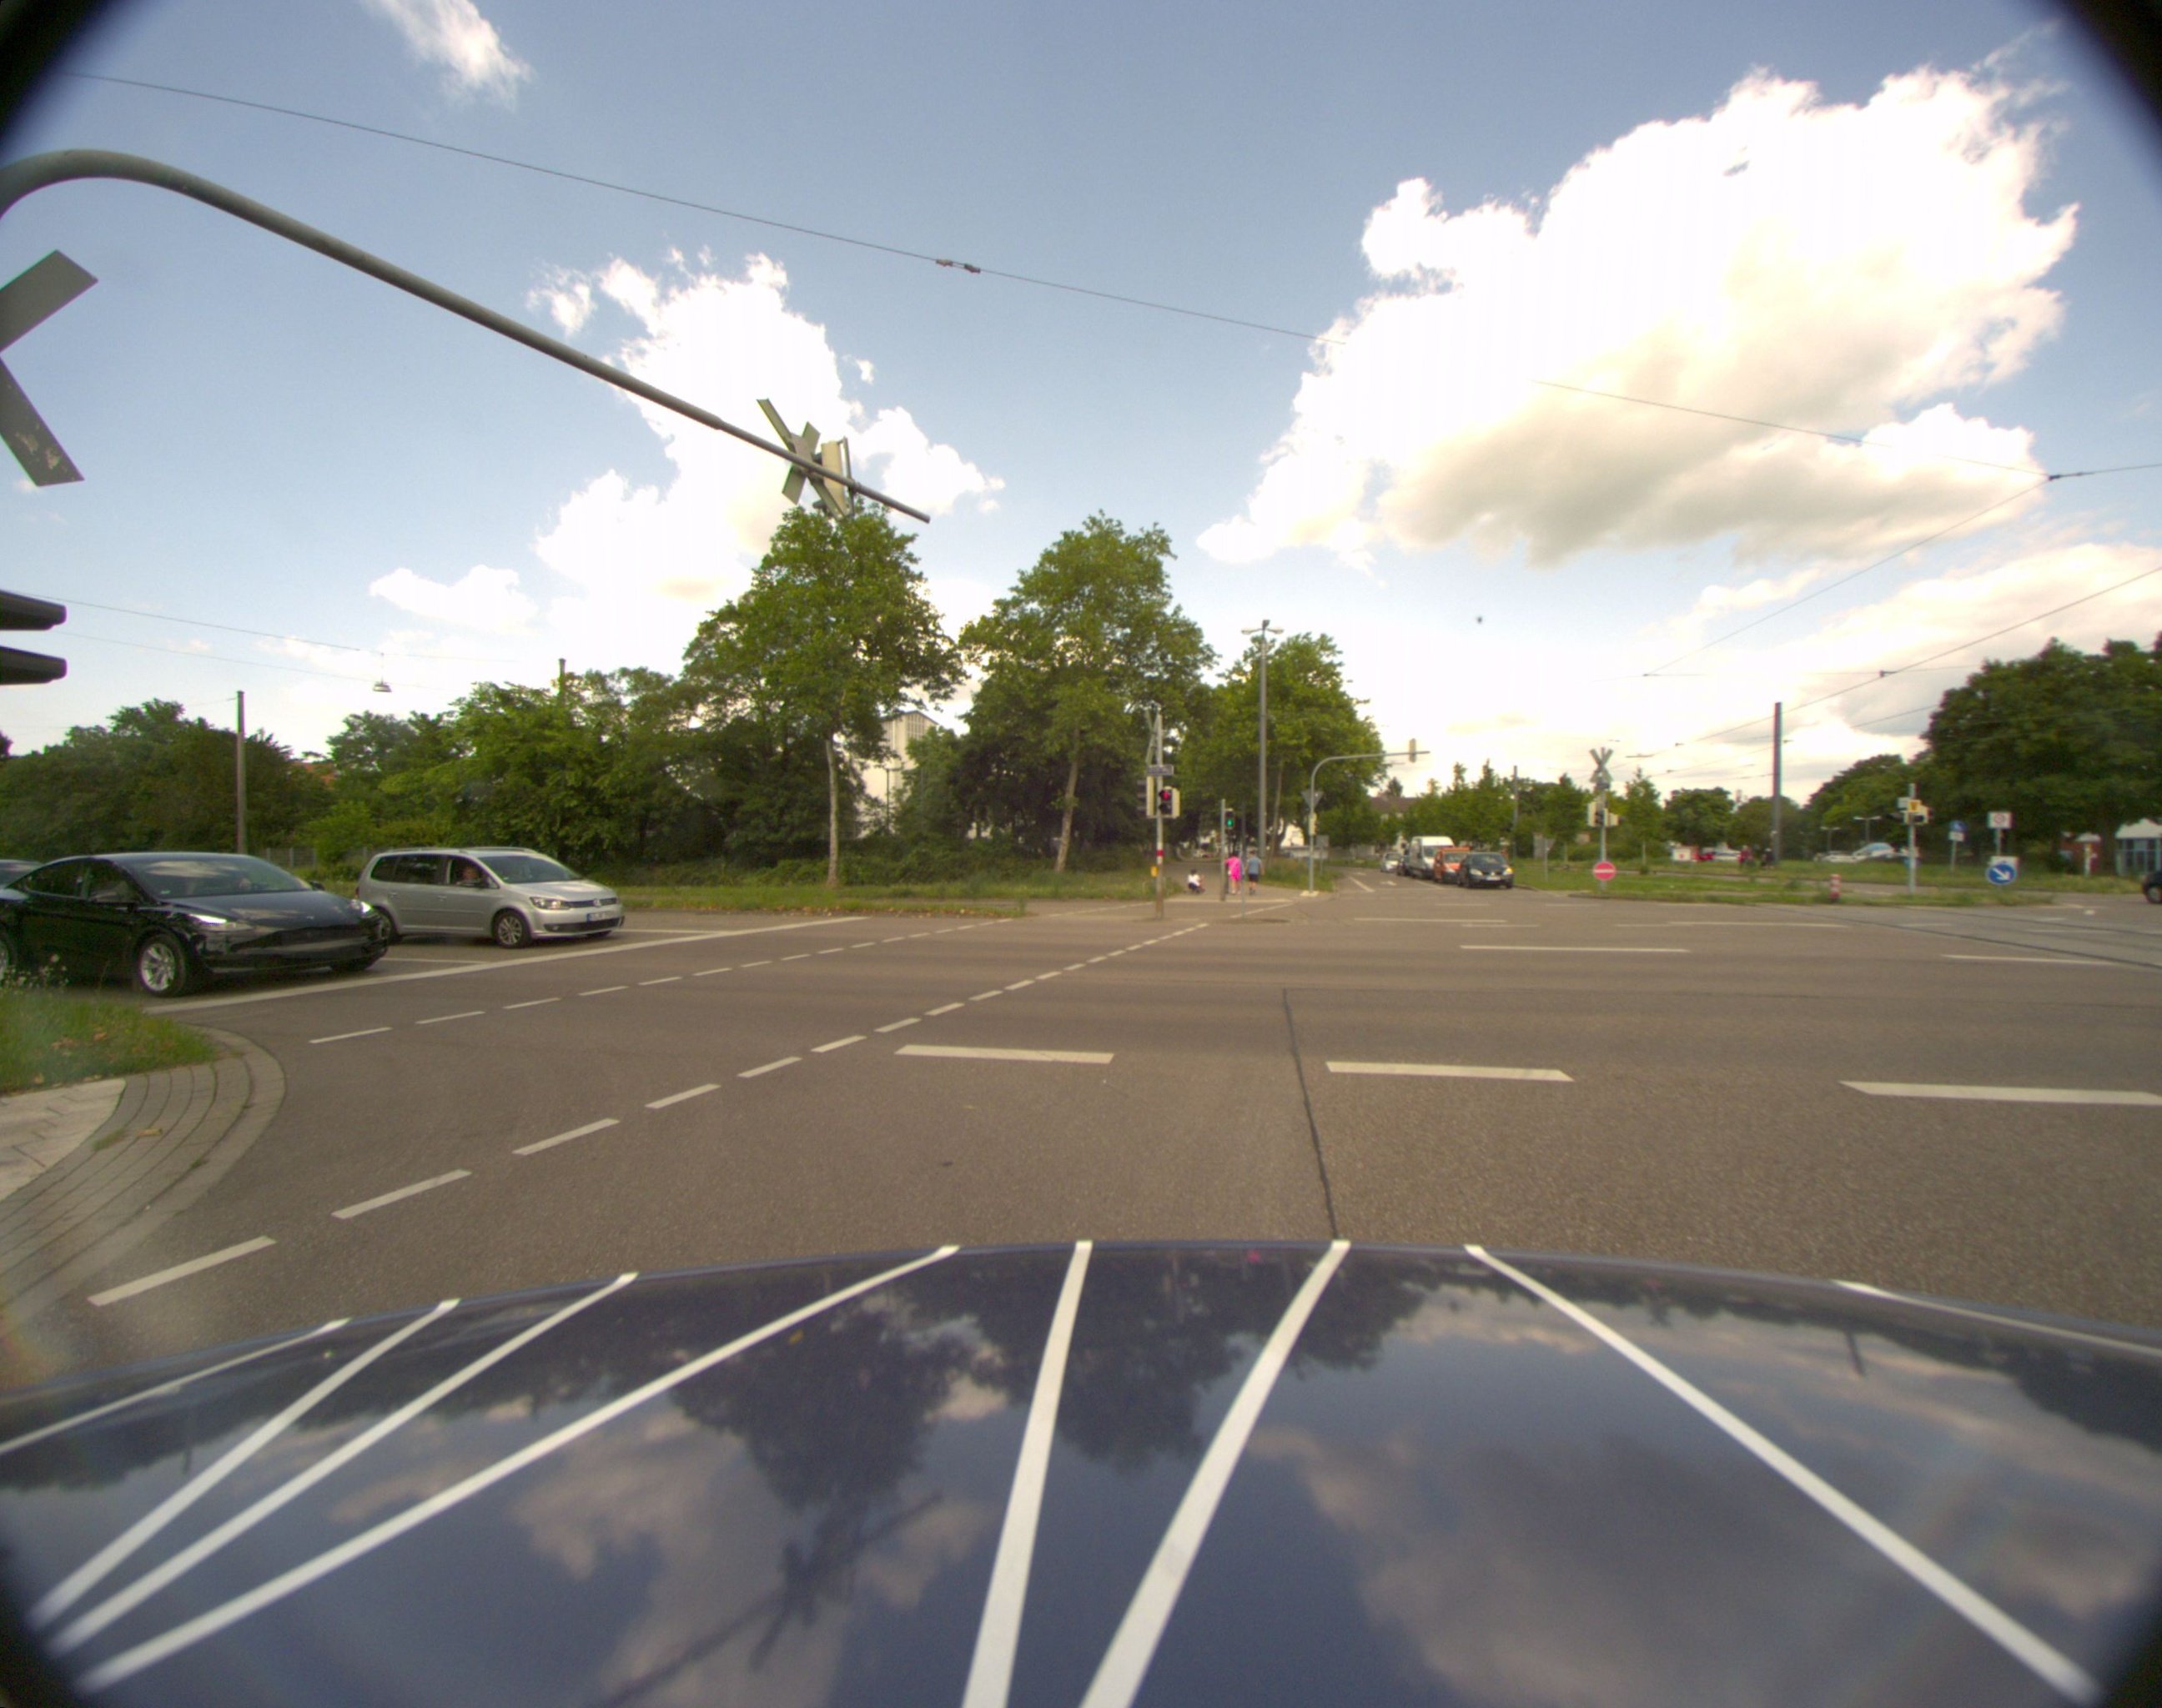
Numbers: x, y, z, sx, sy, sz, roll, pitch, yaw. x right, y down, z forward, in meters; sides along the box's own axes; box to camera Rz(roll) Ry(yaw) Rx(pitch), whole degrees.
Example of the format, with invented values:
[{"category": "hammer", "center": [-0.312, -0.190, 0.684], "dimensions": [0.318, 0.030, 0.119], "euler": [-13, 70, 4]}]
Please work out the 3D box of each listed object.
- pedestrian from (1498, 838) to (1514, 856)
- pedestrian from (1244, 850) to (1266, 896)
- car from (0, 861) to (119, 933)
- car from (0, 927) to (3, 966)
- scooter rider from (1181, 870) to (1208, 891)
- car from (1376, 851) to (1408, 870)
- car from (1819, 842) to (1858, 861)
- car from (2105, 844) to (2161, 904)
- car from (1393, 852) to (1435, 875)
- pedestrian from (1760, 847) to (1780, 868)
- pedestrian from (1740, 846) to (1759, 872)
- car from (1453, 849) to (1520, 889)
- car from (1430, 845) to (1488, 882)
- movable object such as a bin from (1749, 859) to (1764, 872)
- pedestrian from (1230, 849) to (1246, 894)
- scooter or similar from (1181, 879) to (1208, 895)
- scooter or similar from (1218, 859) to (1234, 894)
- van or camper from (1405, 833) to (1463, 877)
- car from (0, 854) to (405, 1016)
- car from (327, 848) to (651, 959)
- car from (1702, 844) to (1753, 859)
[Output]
[{"category": "pedestrian", "center": [47.975, -0.837, 85.781], "dimensions": [1.106, 2.002, 1.177], "euler": [0, 1, -1]}, {"category": "pedestrian", "center": [6.129, 0.664, 26.781], "dimensions": [0.631, 1.610, 0.611], "euler": [0, 1, 22]}, {"category": "car", "center": [-23.526, 0.867, 16.353], "dimensions": [4.335, 1.367, 1.766], "euler": [0, 2, 13]}, {"category": "car", "center": [-18.787, 1.051, 11.145], "dimensions": [4.494, 1.383, 1.803], "euler": [0, 2, 13]}, {"category": "scooter rider", "center": [4.013, 0.935, 26.914], "dimensions": [0.610, 0.724, 0.861], "euler": [-2, 0, 33]}, {"category": "car", "center": [24.479, 0.478, 59.943], "dimensions": [1.808, 1.423, 4.387], "euler": [0, 1, 15]}, {"category": "car", "center": [65.657, -0.222, 65.924], "dimensions": [1.994, 1.630, 4.400], "euler": [0, 1, 39]}, {"category": "car", "center": [29.778, 0.552, 19.743], "dimensions": [1.723, 1.607, 4.005], "euler": [0, 1, 17]}, {"category": "car", "center": [22.808, 0.610, 52.176], "dimensions": [1.808, 1.423, 4.473], "euler": [0, 1, 13]}, {"category": "pedestrian", "center": [45.315, 0.209, 49.955], "dimensions": [0.650, 1.346, 0.753], "euler": [-2, 0, 14]}, {"category": "pedestrian", "center": [43.821, 0.339, 49.800], "dimensions": [0.612, 1.635, 0.638], "euler": [-2, 0, 0]}, {"category": "car", "center": [17.643, 0.608, 33.250], "dimensions": [1.732, 1.621, 4.057], "euler": [0, 1, 15]}, {"category": "car", "center": [19.451, 0.439, 39.290], "dimensions": [1.880, 1.789, 4.375], "euler": [0, 1, 15]}, {"category": "movable object such as a bin", "center": [43.836, 0.741, 49.320], "dimensions": [0.578, 0.806, 0.460], "euler": [-2, 0, -1]}, {"category": "pedestrian", "center": [5.600, 0.622, 27.136], "dimensions": [0.420, 1.610, 0.597], "euler": [0, 1, 23]}, {"category": "scooter or similar", "center": [4.021, 1.181, 26.913], "dimensions": [0.610, 0.508, 0.859], "euler": [-2, 0, 33]}, {"category": "scooter or similar", "center": [5.224, 0.793, 27.387], "dimensions": [0.321, 1.225, 0.777], "euler": [-2, 0, 25]}, {"category": "van or camper", "center": [21.208, 0.057, 45.878], "dimensions": [1.979, 2.509, 6.043], "euler": [0, 0, 13]}, {"category": "car", "center": [-11.276, 0.860, 9.515], "dimensions": [4.571, 1.643, 1.933], "euler": [0, 2, 15]}, {"category": "car", "center": [-10.070, 0.764, 13.051], "dimensions": [4.494, 1.643, 1.932], "euler": [0, 2, 13]}, {"category": "car", "center": [67.306, -0.248, 79.191], "dimensions": [3.988, 1.521, 2.004], "euler": [0, 1, 39]}]
